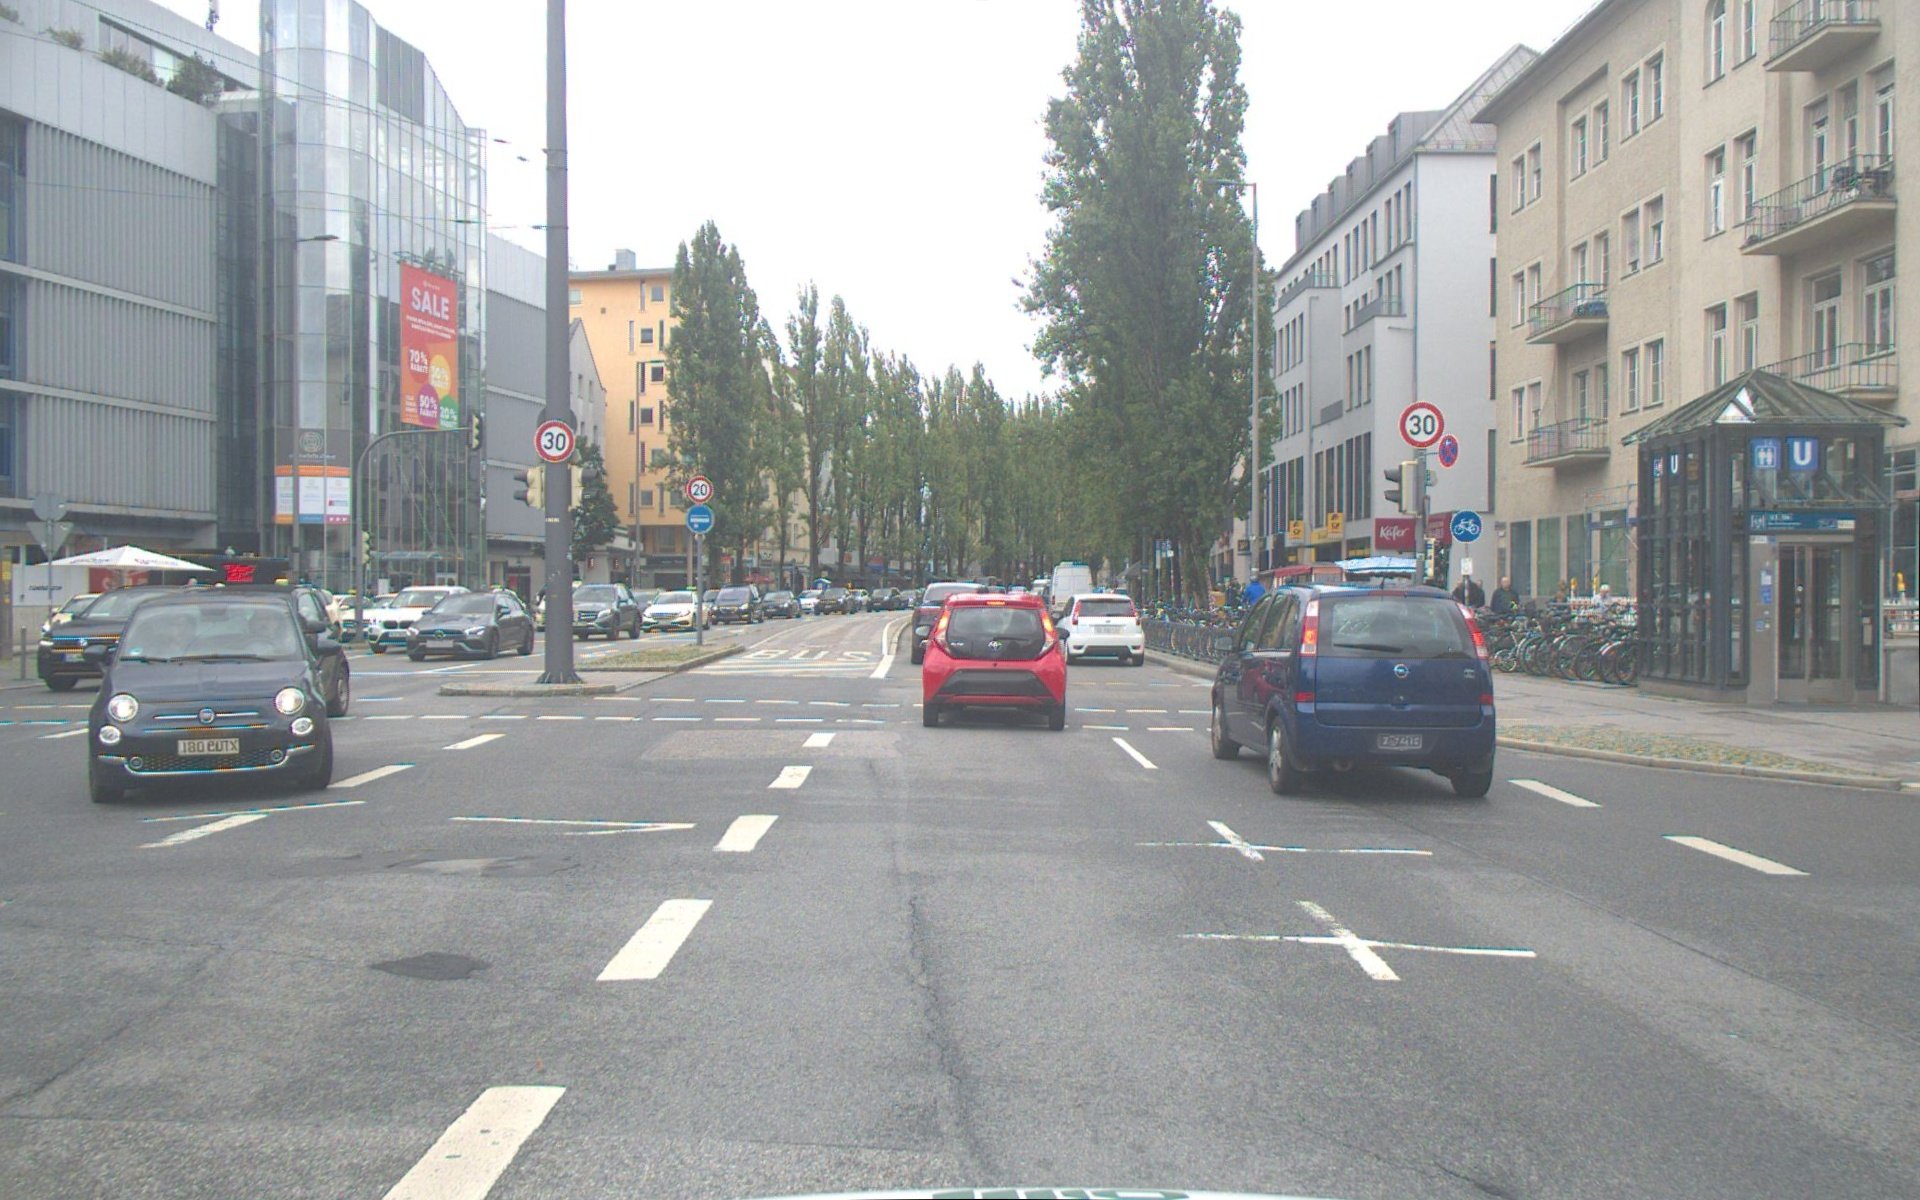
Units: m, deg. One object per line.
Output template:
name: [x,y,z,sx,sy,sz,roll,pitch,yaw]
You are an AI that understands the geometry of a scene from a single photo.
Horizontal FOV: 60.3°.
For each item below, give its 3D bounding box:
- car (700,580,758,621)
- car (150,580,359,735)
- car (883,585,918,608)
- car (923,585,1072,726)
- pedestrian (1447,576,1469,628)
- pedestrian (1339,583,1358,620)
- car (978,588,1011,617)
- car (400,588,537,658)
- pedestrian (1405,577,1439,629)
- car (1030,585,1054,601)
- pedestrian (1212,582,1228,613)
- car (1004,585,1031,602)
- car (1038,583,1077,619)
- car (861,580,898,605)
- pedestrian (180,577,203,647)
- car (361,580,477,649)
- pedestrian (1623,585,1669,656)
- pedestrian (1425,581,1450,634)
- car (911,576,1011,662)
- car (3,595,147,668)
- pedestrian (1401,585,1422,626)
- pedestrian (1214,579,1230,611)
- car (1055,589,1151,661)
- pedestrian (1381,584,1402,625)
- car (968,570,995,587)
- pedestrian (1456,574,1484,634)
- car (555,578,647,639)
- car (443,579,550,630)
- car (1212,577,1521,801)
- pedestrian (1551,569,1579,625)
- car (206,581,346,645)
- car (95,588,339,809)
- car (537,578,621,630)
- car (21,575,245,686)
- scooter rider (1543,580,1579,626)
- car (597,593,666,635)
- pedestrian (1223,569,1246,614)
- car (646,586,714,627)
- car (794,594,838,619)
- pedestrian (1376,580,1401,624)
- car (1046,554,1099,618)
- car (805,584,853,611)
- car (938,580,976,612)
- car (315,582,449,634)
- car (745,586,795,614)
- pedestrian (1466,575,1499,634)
car: [-10.122,-0.004,72.609,1.897,1.769,4.588,0,0,0]
car: [-7.806,0.585,18.524,1.476,1.561,2.831,-1,0,-9]
car: [-4.415,-0.280,123.062,1.951,1.721,4.924,0,0,6]
car: [0.402,0.585,19.251,1.572,1.487,3.130,1,0,0]
pedestrian: [14.653,0.062,48.695,0.497,1.510,0.463,0,0,34]
pedestrian: [14.881,0.054,63.394,0.586,1.427,0.580,0,0,-1]
car: [2.258,0.147,107.189,1.951,1.870,4.002,0,0,4]
car: [-10.795,0.465,36.635,1.954,1.436,4.165,0,1,-3]
pedestrian: [13.828,0.086,49.482,0.794,1.548,0.798,0,0,32]
car: [9.017,-0.756,181.738,1.951,1.721,4.418,0,0,12]
pedestrian: [13.649,-0.128,86.925,0.748,1.621,0.676,0,0,-1]
car: [5.882,-0.693,168.783,1.951,1.721,4.418,0,1,12]
car: [4.749,0.029,80.820,1.668,1.691,3.555,0,0,-1]
car: [-5.562,-0.532,114.372,1.951,1.721,4.924,0,0,4]
pedestrian: [-19.590,0.301,42.149,0.438,1.790,0.354,0,0,35]
car: [-13.364,0.338,41.073,1.664,1.624,3.998,0,0,-2]
pedestrian: [16.467,0.481,39.730,0.735,1.679,0.758,-1,0,-3]
pedestrian: [13.911,0.219,48.216,0.568,1.531,0.615,0,0,31]
car: [-0.024,0.355,34.145,1.953,1.646,3.999,0,0,-1]
car: [-21.106,0.699,39.626,1.960,1.563,4.399,-1,1,-14]
pedestrian: [15.768,0.189,57.768,0.563,1.427,0.580,0,0,-1]
pedestrian: [13.378,-0.255,84.307,0.698,1.585,0.676,0,0,-1]
car: [2.983,0.490,35.144,1.665,1.451,3.496,0,0,-1]
pedestrian: [15.079,0.168,57.781,0.586,1.427,0.580,0,0,-1]
car: [2.178,-2.154,167.328,1.951,1.721,4.418,0,1,12]
pedestrian: [14.708,0.111,47.677,0.590,1.699,0.683,0,0,34]
car: [-10.622,0.205,49.215,1.707,1.699,4.732,-1,1,0]
car: [-16.293,0.140,58.385,1.951,1.708,4.187,0,0,12]
car: [3.219,0.633,13.771,1.668,1.617,3.555,0,0,-1]
pedestrian: [18.336,-0.099,50.139,0.628,1.673,0.562,0,0,-1]
car: [-17.988,0.301,43.717,1.862,1.570,4.392,0,1,0]
car: [-5.859,0.659,13.182,1.525,1.471,3.514,-2,1,-23]
car: [-16.095,0.139,70.174,1.952,2.048,5.526,-1,1,3]
car: [-13.579,0.458,27.438,1.746,1.691,3.999,0,0,-1]
scooter rider: [16.323,0.075,44.929,0.671,1.241,0.719,-1,0,-3]
car: [-13.308,0.535,67.256,1.801,1.642,4.259,0,1,2]
pedestrian: [10.799,-0.339,65.066,0.774,1.758,0.763,0,0,-1]
car: [-10.198,0.217,60.484,1.729,1.446,4.639,0,0,0]
car: [-9.402,0.407,108.334,1.951,1.561,4.469,0,0,7]
pedestrian: [16.251,0.067,62.724,0.717,1.630,0.742,0,0,-1]
car: [5.044,-0.627,74.867,2.063,2.766,4.804,0,0,0]
car: [-7.794,-0.184,98.830,1.951,1.561,4.591,0,0,8]
car: [-0.166,-0.200,78.553,1.737,1.464,3.938,0,1,-1]
car: [-17.649,0.217,50.728,1.951,1.534,4.638,0,0,8]
car: [-9.701,-0.003,84.774,1.806,1.406,4.603,0,0,3]
pedestrian: [15.835,0.139,50.118,0.727,1.758,0.758,-1,0,-1]
